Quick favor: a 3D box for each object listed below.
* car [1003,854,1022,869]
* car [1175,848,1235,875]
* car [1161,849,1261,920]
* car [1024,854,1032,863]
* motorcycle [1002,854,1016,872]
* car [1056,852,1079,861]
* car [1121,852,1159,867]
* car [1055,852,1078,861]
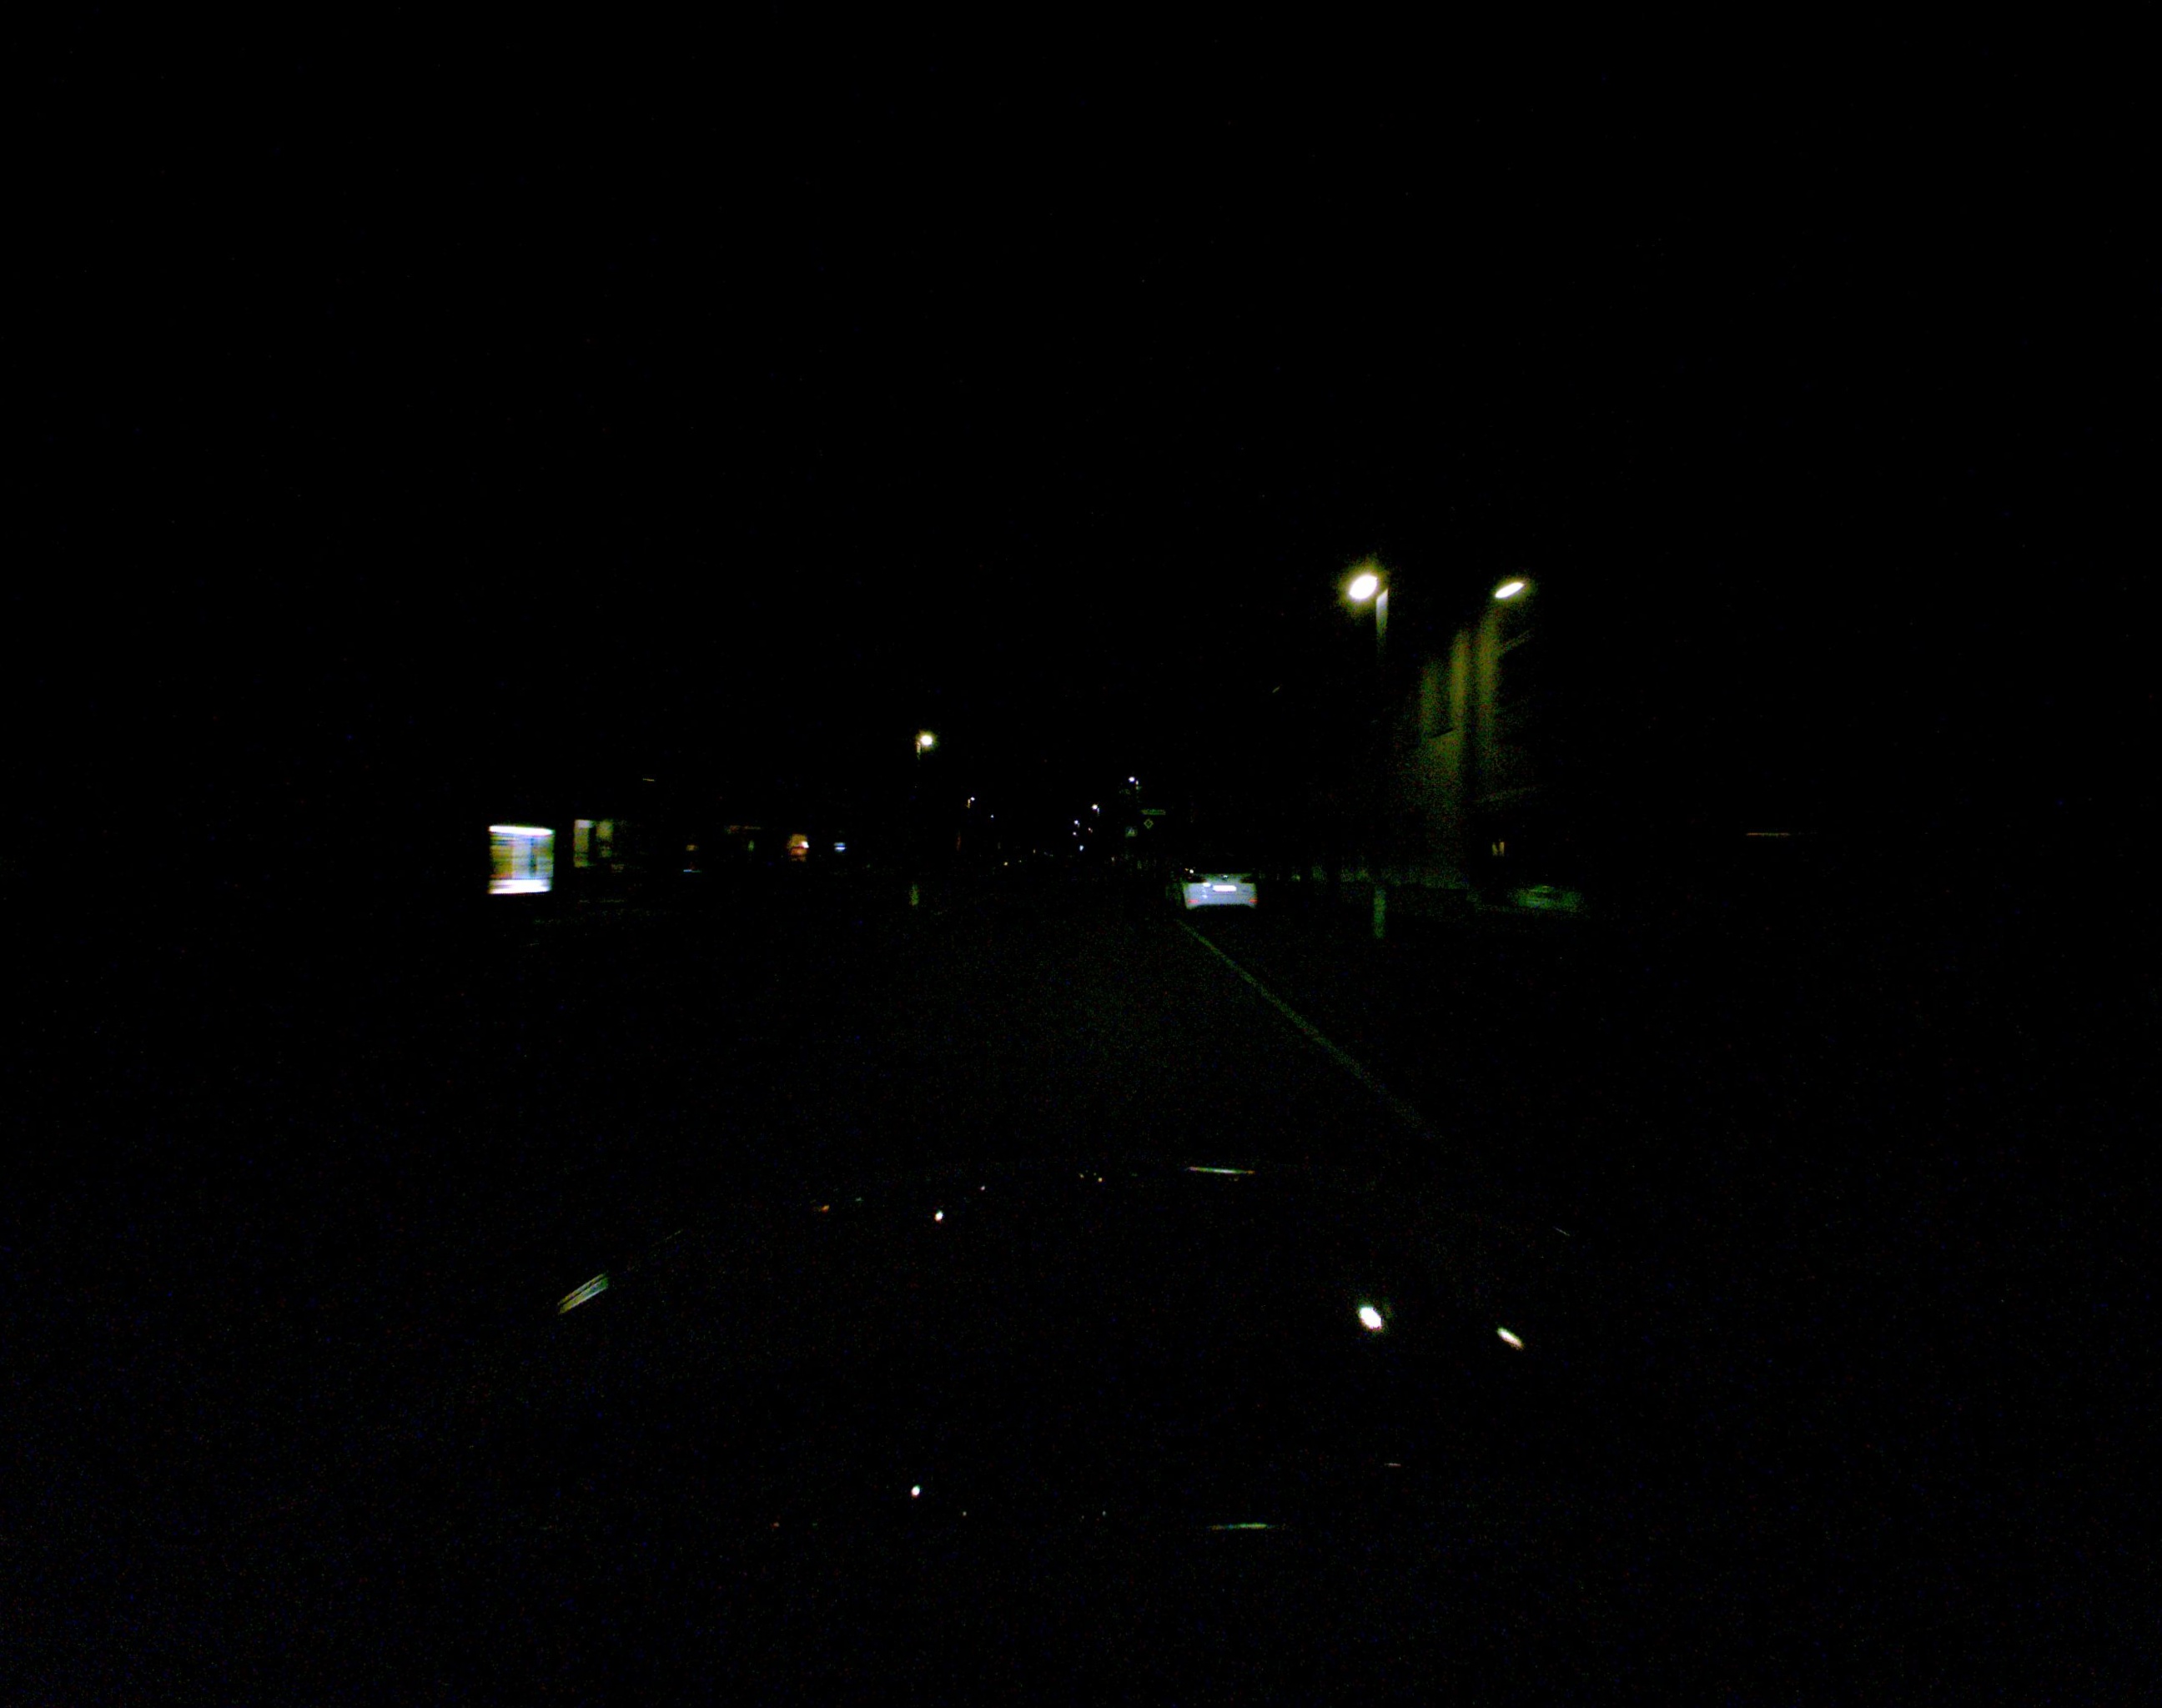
[{"bbox_3d":[-7.045,0.778,84.091,1.684,1.510,4.274,0,0,-3],"label":"car"},{"bbox_3d":[8.193,0.495,54.000,3.499,1.525,1.818,-3,0,-4],"label":"car"},{"bbox_3d":[3.148,0.685,20.564,1.738,1.569,4.206,-1,0,-2],"label":"car"},{"bbox_3d":[-13.899,1.149,213.038,1.821,1.987,4.457,2,-3,-5],"label":"car"},{"bbox_3d":[-5.723,0.700,64.942,0.742,1.452,2.199,0,0,5],"label":"motorcycle"},{"bbox_3d":[-3.201,0.534,192.783,5.174,2.013,2.098,-1,0,-5],"label":"car"},{"bbox_3d":[5.849,0.527,81.335,3.700,1.473,1.730,0,-1,-1],"label":"car"},{"bbox_3d":[-3.300,0.560,189.708,5.174,2.013,2.098,-1,0,-5],"label":"car"}]
